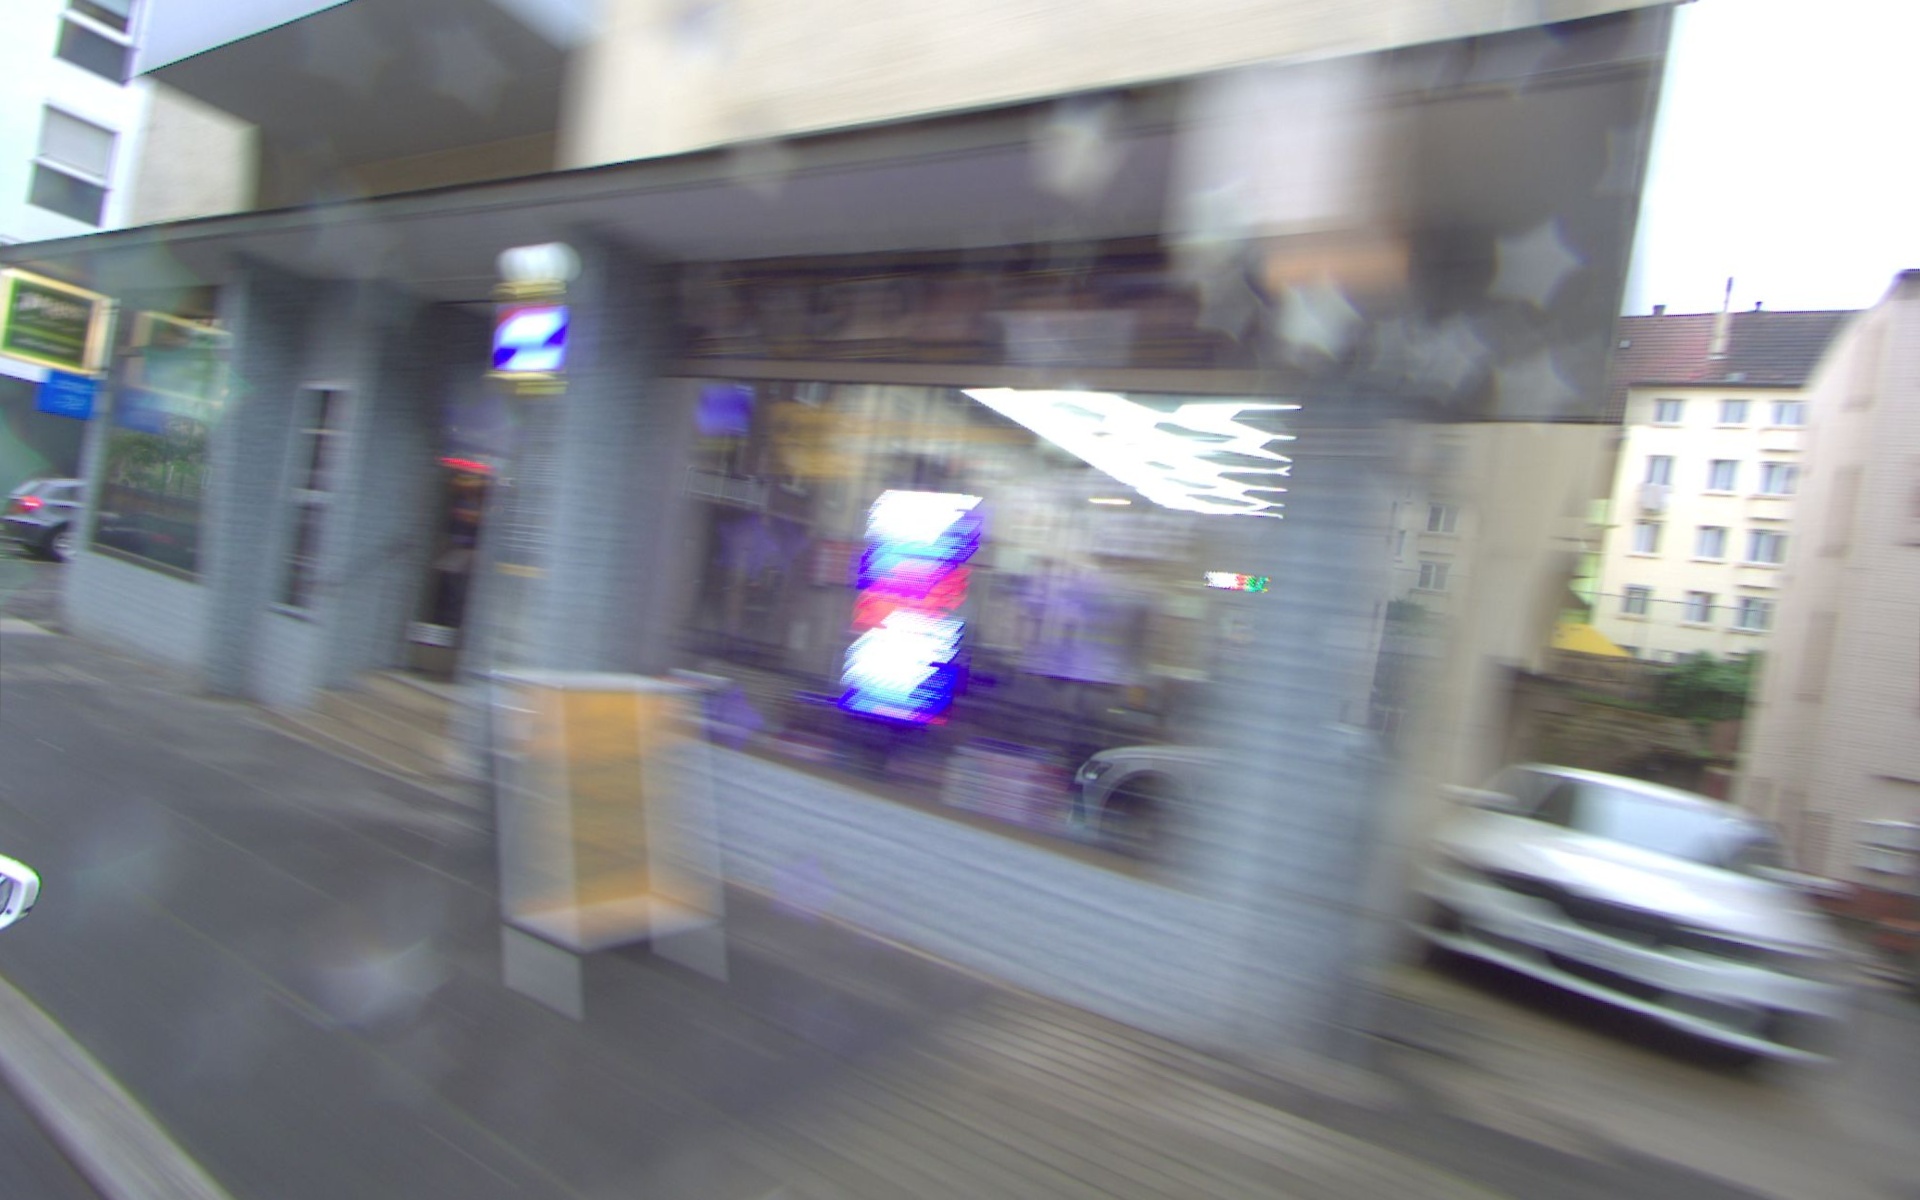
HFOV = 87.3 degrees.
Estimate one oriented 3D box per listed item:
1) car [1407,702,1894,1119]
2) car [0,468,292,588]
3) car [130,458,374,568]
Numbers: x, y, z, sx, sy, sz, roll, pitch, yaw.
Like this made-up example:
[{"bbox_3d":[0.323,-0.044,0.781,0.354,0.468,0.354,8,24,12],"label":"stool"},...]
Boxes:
[{"bbox_3d":[4.602,1.947,7.194,1.864,1.565,4.635,11,-5,31],"label":"car"},{"bbox_3d":[-14.581,-1.236,17.938,1.733,1.431,3.992,8,-1,34],"label":"car"},{"bbox_3d":[-15.624,-1.874,22.387,1.712,1.712,3.987,11,2,35],"label":"car"}]
